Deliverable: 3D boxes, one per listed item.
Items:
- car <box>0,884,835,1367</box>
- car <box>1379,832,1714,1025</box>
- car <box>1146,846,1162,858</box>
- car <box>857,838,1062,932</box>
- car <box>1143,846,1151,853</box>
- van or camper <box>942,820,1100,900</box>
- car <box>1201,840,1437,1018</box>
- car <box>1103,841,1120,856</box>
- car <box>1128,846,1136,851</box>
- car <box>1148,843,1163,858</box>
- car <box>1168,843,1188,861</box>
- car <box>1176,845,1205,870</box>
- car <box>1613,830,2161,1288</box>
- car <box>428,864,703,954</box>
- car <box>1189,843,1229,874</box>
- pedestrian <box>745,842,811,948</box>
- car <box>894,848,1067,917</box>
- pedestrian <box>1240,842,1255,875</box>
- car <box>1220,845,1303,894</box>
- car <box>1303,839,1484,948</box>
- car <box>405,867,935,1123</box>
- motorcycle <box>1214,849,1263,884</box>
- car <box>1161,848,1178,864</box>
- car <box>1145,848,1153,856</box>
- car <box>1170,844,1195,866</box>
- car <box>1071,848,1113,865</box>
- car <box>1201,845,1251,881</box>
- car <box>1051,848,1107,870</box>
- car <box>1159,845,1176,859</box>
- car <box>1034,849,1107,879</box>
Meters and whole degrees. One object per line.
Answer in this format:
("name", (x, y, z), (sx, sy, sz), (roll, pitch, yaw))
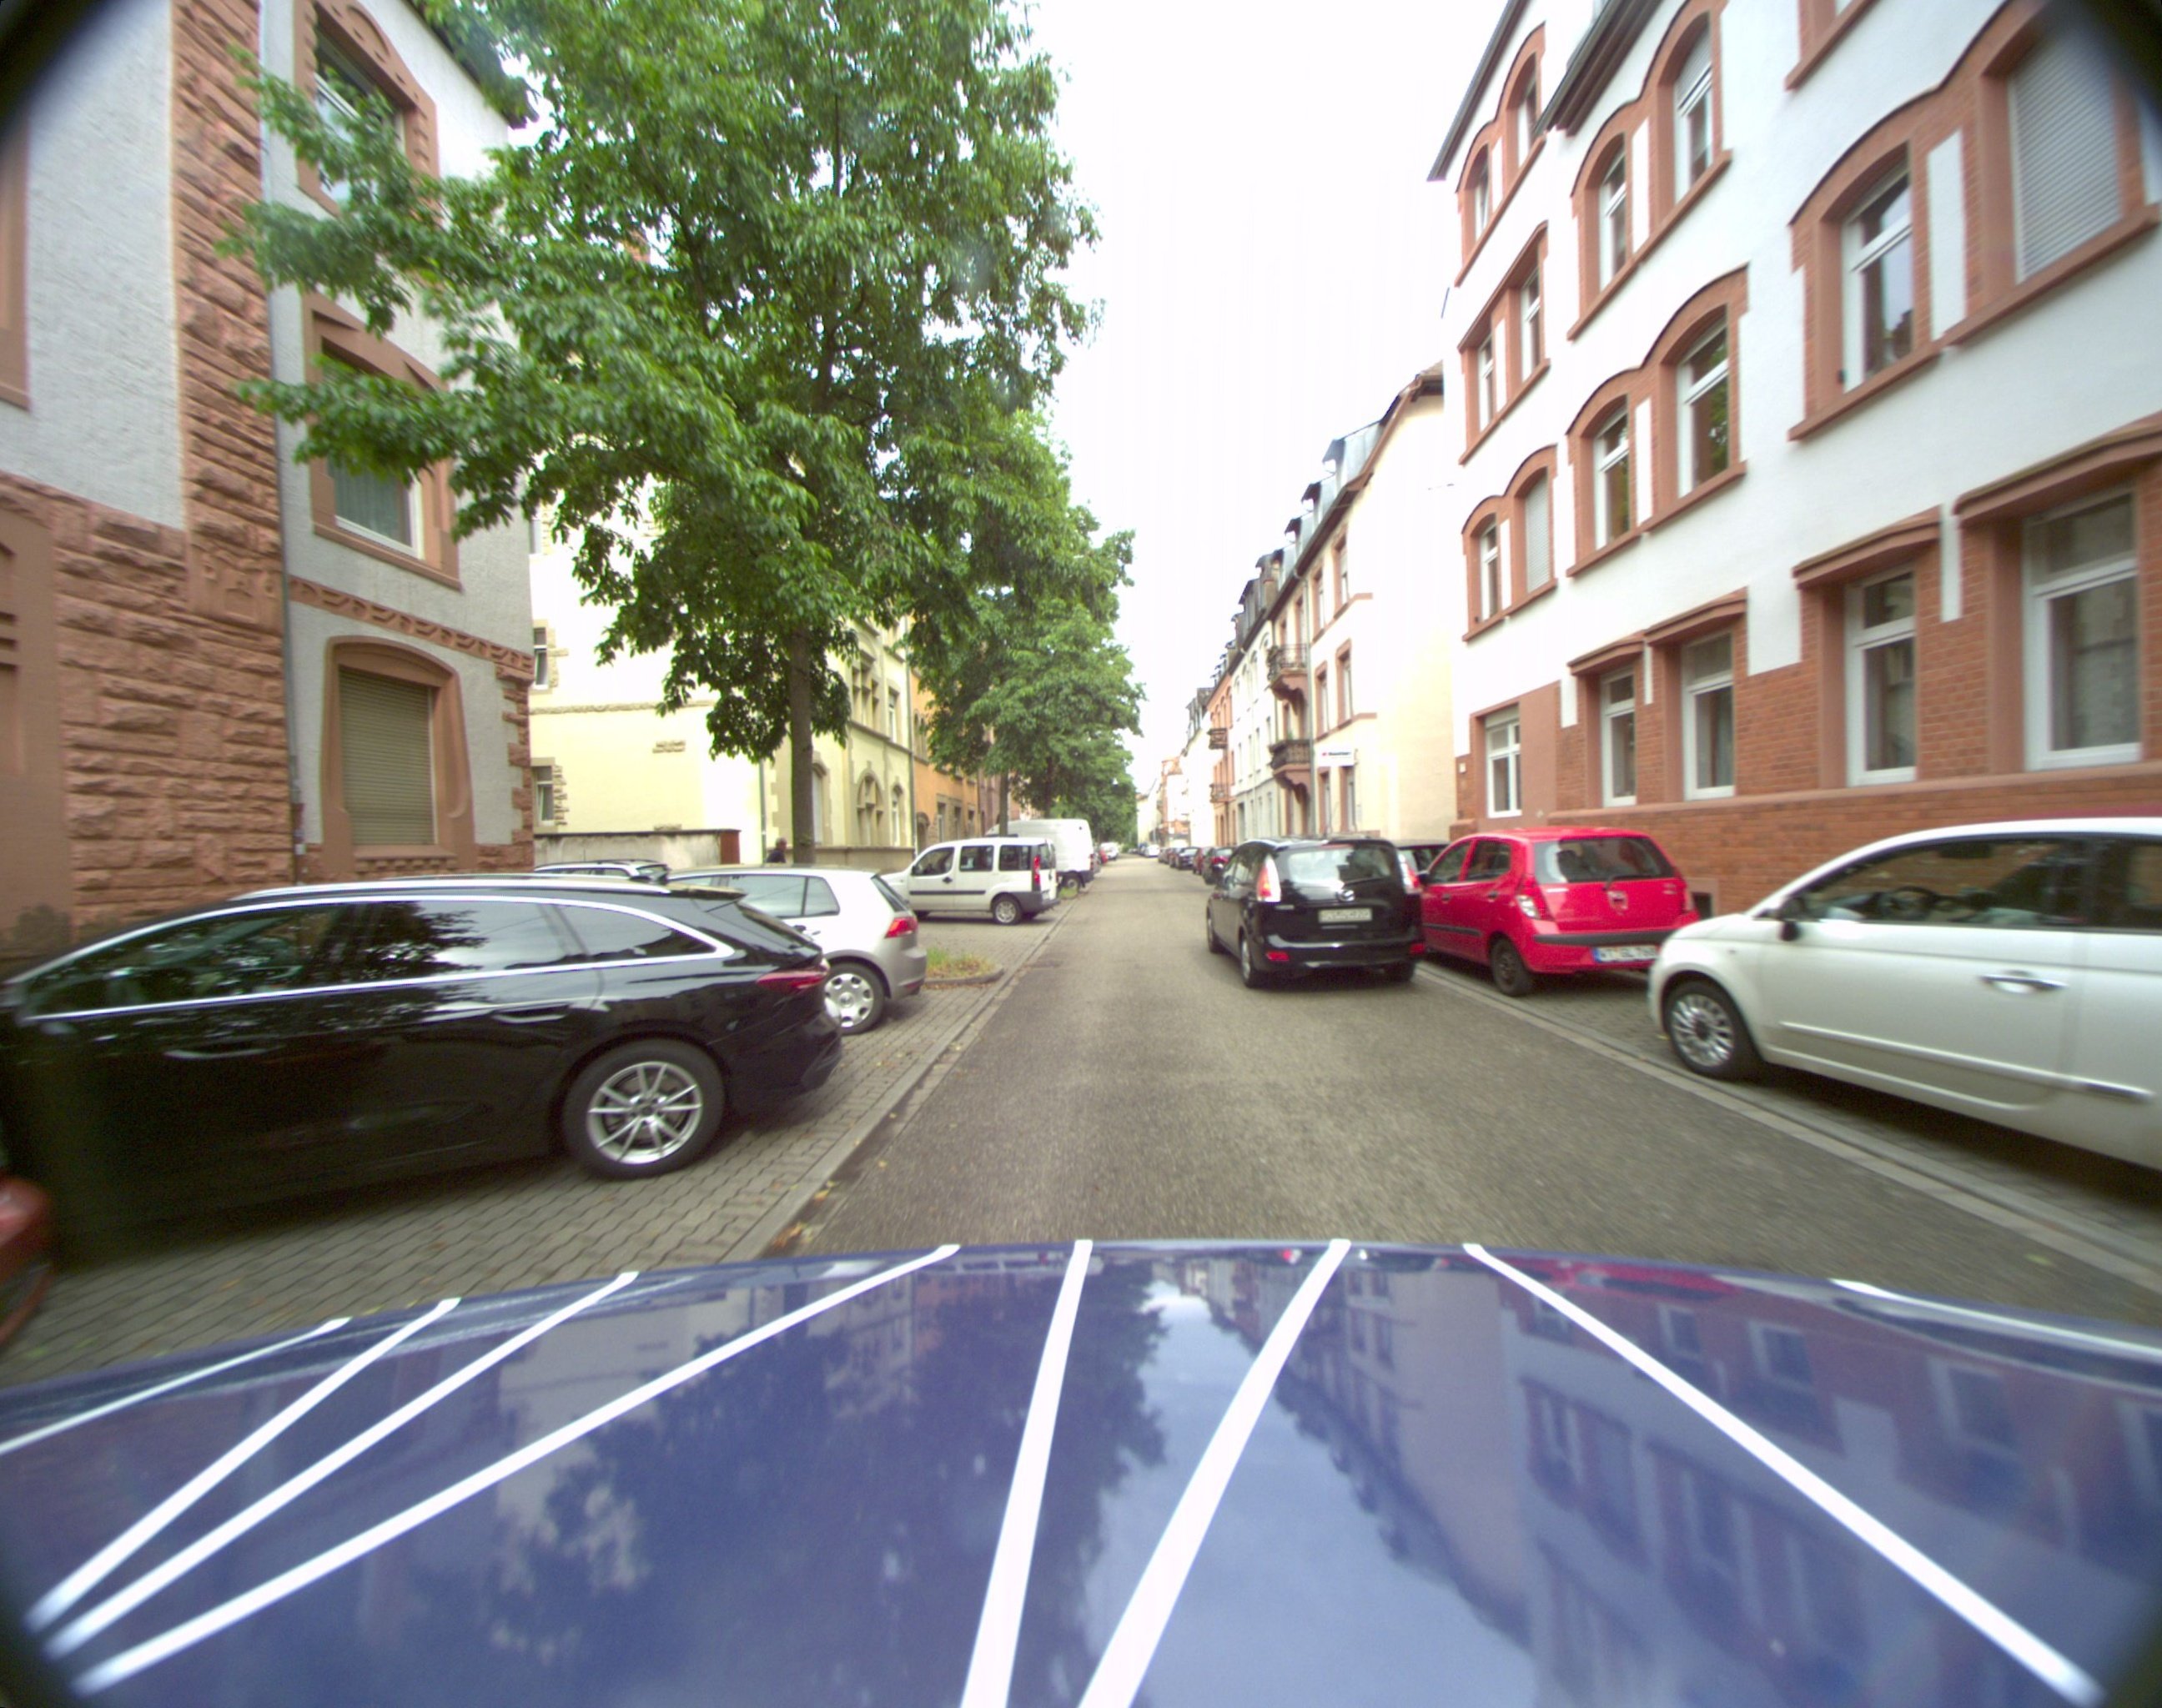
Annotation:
("car", (-3.302, 0.994, 3.744), (3.699, 1.458, 1.702), (-2, 1, -28))
("car", (4.538, 0.612, 8.060), (1.468, 1.521, 3.569), (-3, 0, 4))
("car", (9.772, -0.246, 101.722), (2.081, 1.446, 4.254), (-3, 0, 5))
("car", (-2.573, 0.652, 16.568), (3.994, 1.801, 1.721), (-2, 1, 10))
("car", (13.126, -0.929, 150.528), (1.456, 1.401, 3.812), (-3, 0, 5))
("van or camper", (-2.094, 0.146, 26.823), (5.076, 2.576, 2.069), (-2, 1, -27))
("car", (2.550, 0.669, 9.200), (1.813, 1.621, 4.208), (-2, 1, 5))
("car", (3.978, -0.733, 98.389), (1.998, 1.740, 4.001), (-2, 0, 6))
("car", (14.505, -1.690, 216.578), (1.458, 1.401, 3.808), (-2, 1, -5))
("car", (11.021, -0.580, 112.548), (2.052, 2.071, 3.812), (-3, 0, 5))
("car", (8.147, -0.140, 64.015), (1.456, 1.401, 3.812), (-3, 0, 5))
("car", (6.790, 0.182, 47.252), (1.457, 1.402, 3.041), (-3, 2, 3))
("car", (4.436, 0.674, 3.313), (1.670, 1.502, 3.553), (-2, 0, -1))
("car", (-9.435, 0.975, 14.090), (3.996, 1.445, 1.609), (-2, 1, 3))
("car", (6.515, 0.220, 38.829), (1.610, 1.463, 3.343), (-2, 1, 3))
("pedestrian", (-5.330, 0.703, 13.402), (0.703, 1.801, 0.817), (-2, 1, 4))
("car", (-2.727, 0.705, 20.695), (4.283, 1.608, 1.758), (-2, 1, -26))
("pedestrian", (8.158, 0.212, 37.244), (0.577, 1.599, 0.544), (-2, 1, 3))
("car", (5.684, 0.437, 24.412), (1.904, 1.382, 4.001), (-2, 0, 4))
("car", (4.826, 0.529, 12.311), (1.468, 1.408, 3.919), (-3, 0, 4))
("car", (-3.161, 0.976, 6.535), (3.471, 1.554, 1.784), (-3, 1, -19))
("motorcycle", (5.860, 0.467, 28.293), (1.710, 1.218, 0.487), (-2, 1, 22))
("car", (8.555, 0.181, 73.662), (1.456, 1.401, 3.812), (-3, 0, 5))
("car", (12.593, -0.440, 140.647), (1.456, 1.401, 3.812), (-3, 0, 5))
("car", (7.135, 0.037, 53.610), (1.456, 1.401, 3.812), (-3, 0, 5))
("car", (0.993, 0.202, 71.195), (3.606, 1.458, 1.629), (-2, 1, -10))
("car", (6.181, 0.338, 32.693), (1.659, 1.375, 3.472), (-3, 1, 4))
("car", (-0.183, 0.398, 59.490), (4.149, 1.490, 1.838), (-2, 1, -10))
("car", (8.919, -0.200, 78.537), (1.456, 1.401, 3.812), (-3, 0, 5))
("car", (-0.567, 0.558, 41.746), (3.611, 1.458, 1.627), (-3, 1, -28))
